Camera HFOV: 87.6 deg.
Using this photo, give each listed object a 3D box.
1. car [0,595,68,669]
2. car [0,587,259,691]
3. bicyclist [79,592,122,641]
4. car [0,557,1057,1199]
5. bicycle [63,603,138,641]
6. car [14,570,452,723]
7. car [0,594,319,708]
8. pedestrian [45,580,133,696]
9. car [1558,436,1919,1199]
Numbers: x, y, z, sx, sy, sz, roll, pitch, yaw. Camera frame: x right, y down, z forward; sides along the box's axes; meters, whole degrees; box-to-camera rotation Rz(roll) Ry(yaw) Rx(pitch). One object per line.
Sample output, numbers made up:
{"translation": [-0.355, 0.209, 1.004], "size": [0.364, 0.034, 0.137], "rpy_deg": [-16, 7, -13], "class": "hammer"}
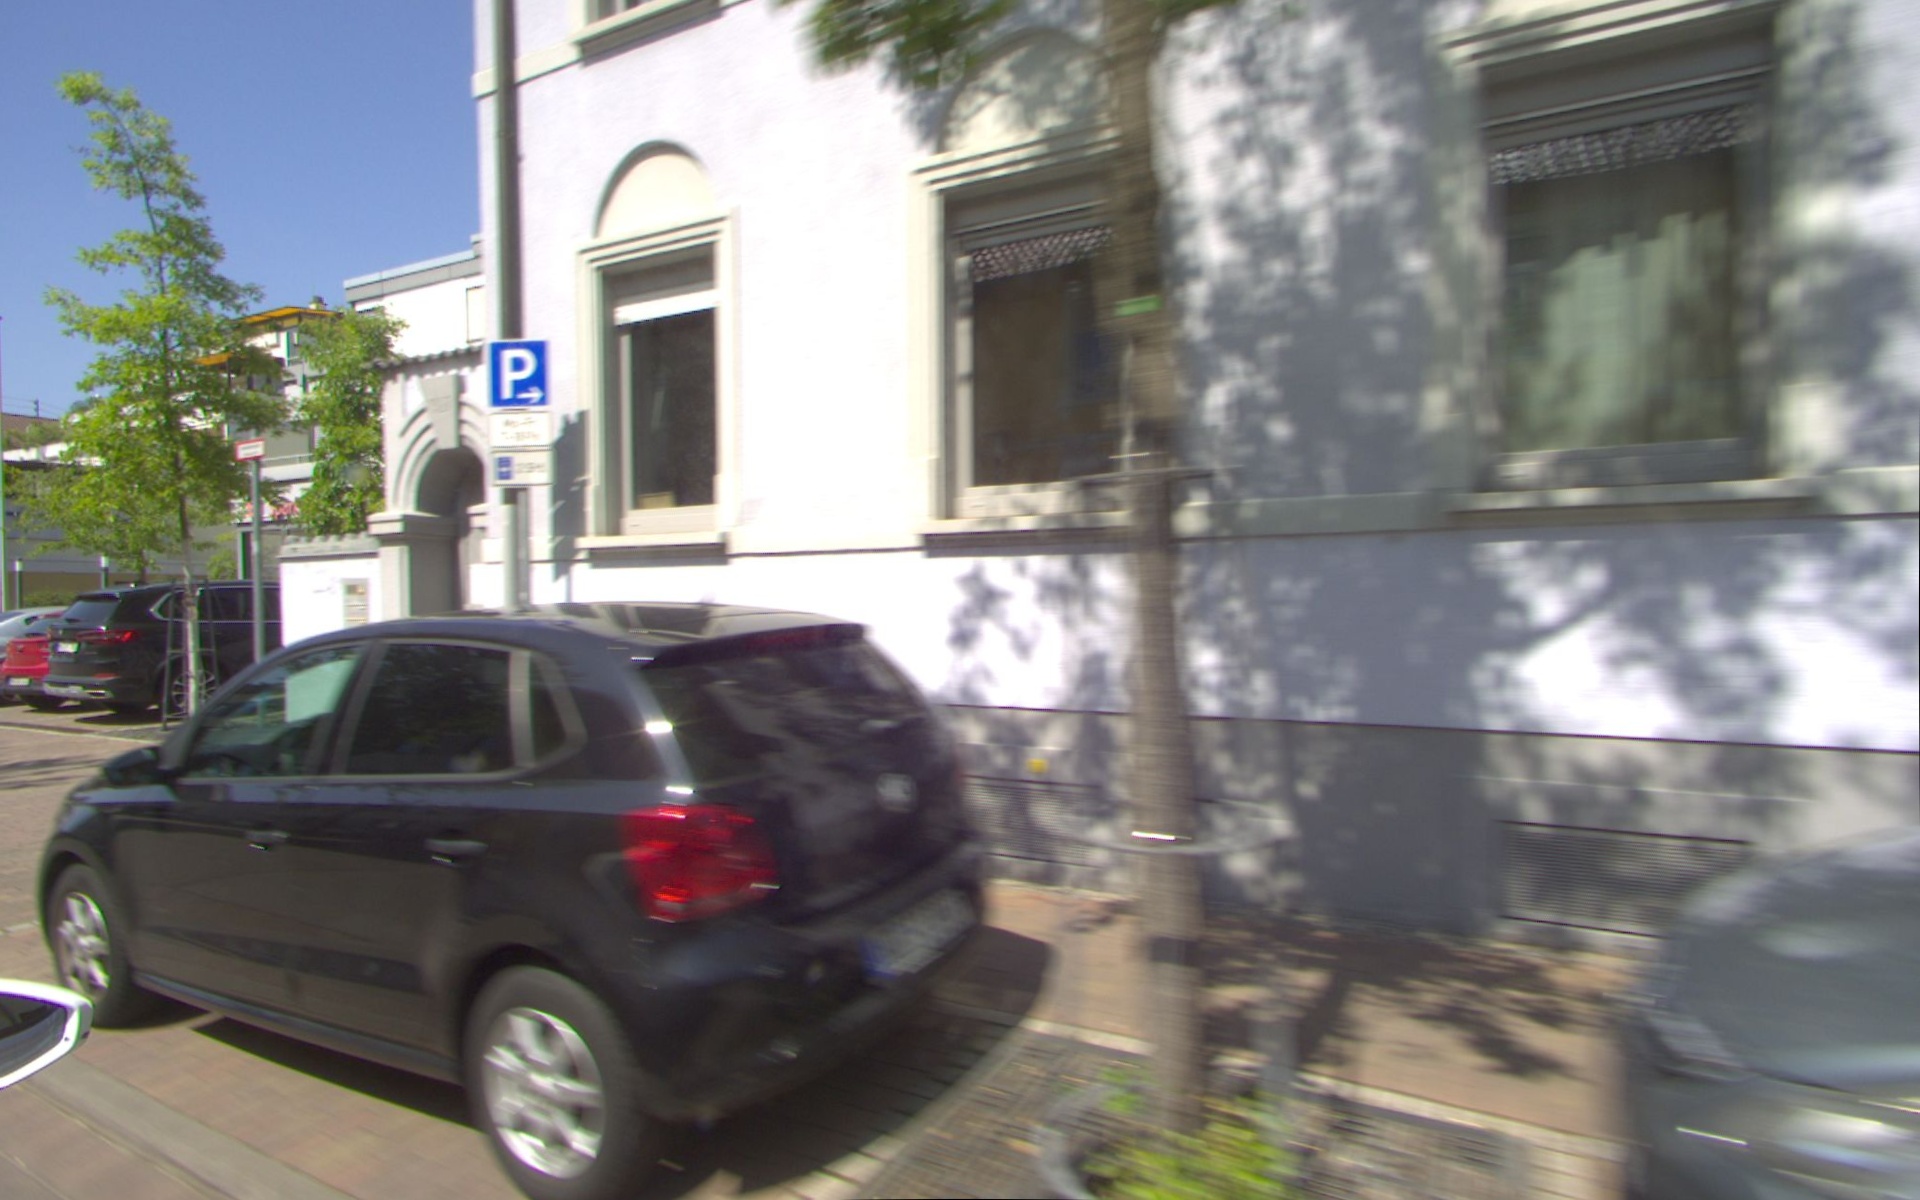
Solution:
{"translation": [-21.590, 0.751, 20.496], "size": [1.885, 1.533, 4.574], "rpy_deg": [-1, 2, 24], "class": "car"}
{"translation": [-14.506, 0.583, 16.491], "size": [1.809, 1.460, 4.534], "rpy_deg": [0, 2, 24], "class": "car"}
{"translation": [-27.767, 0.536, 32.356], "size": [0.658, 1.548, 0.761], "rpy_deg": [-1, 2, 4], "class": "bicyclist"}
{"translation": [-1.767, 0.659, 3.689], "size": [3.862, 1.501, 1.700], "rpy_deg": [-1, 2, 29], "class": "car"}
{"translation": [-27.766, 0.697, 32.401], "size": [0.663, 1.124, 1.895], "rpy_deg": [-1, 2, 4], "class": "bicycle"}
{"translation": [-10.160, 0.486, 14.464], "size": [2.115, 1.795, 4.622], "rpy_deg": [0, 2, 29], "class": "car"}
{"translation": [-12.291, 0.680, 15.428], "size": [1.716, 1.472, 3.729], "rpy_deg": [0, 1, 24], "class": "car"}
{"translation": [-13.530, 0.577, 15.571], "size": [0.687, 1.740, 0.748], "rpy_deg": [0, 2, 23], "class": "pedestrian"}
{"translation": [2.910, 0.537, 0.923], "size": [4.036, 1.501, 1.714], "rpy_deg": [-1, 1, 31], "class": "car"}
